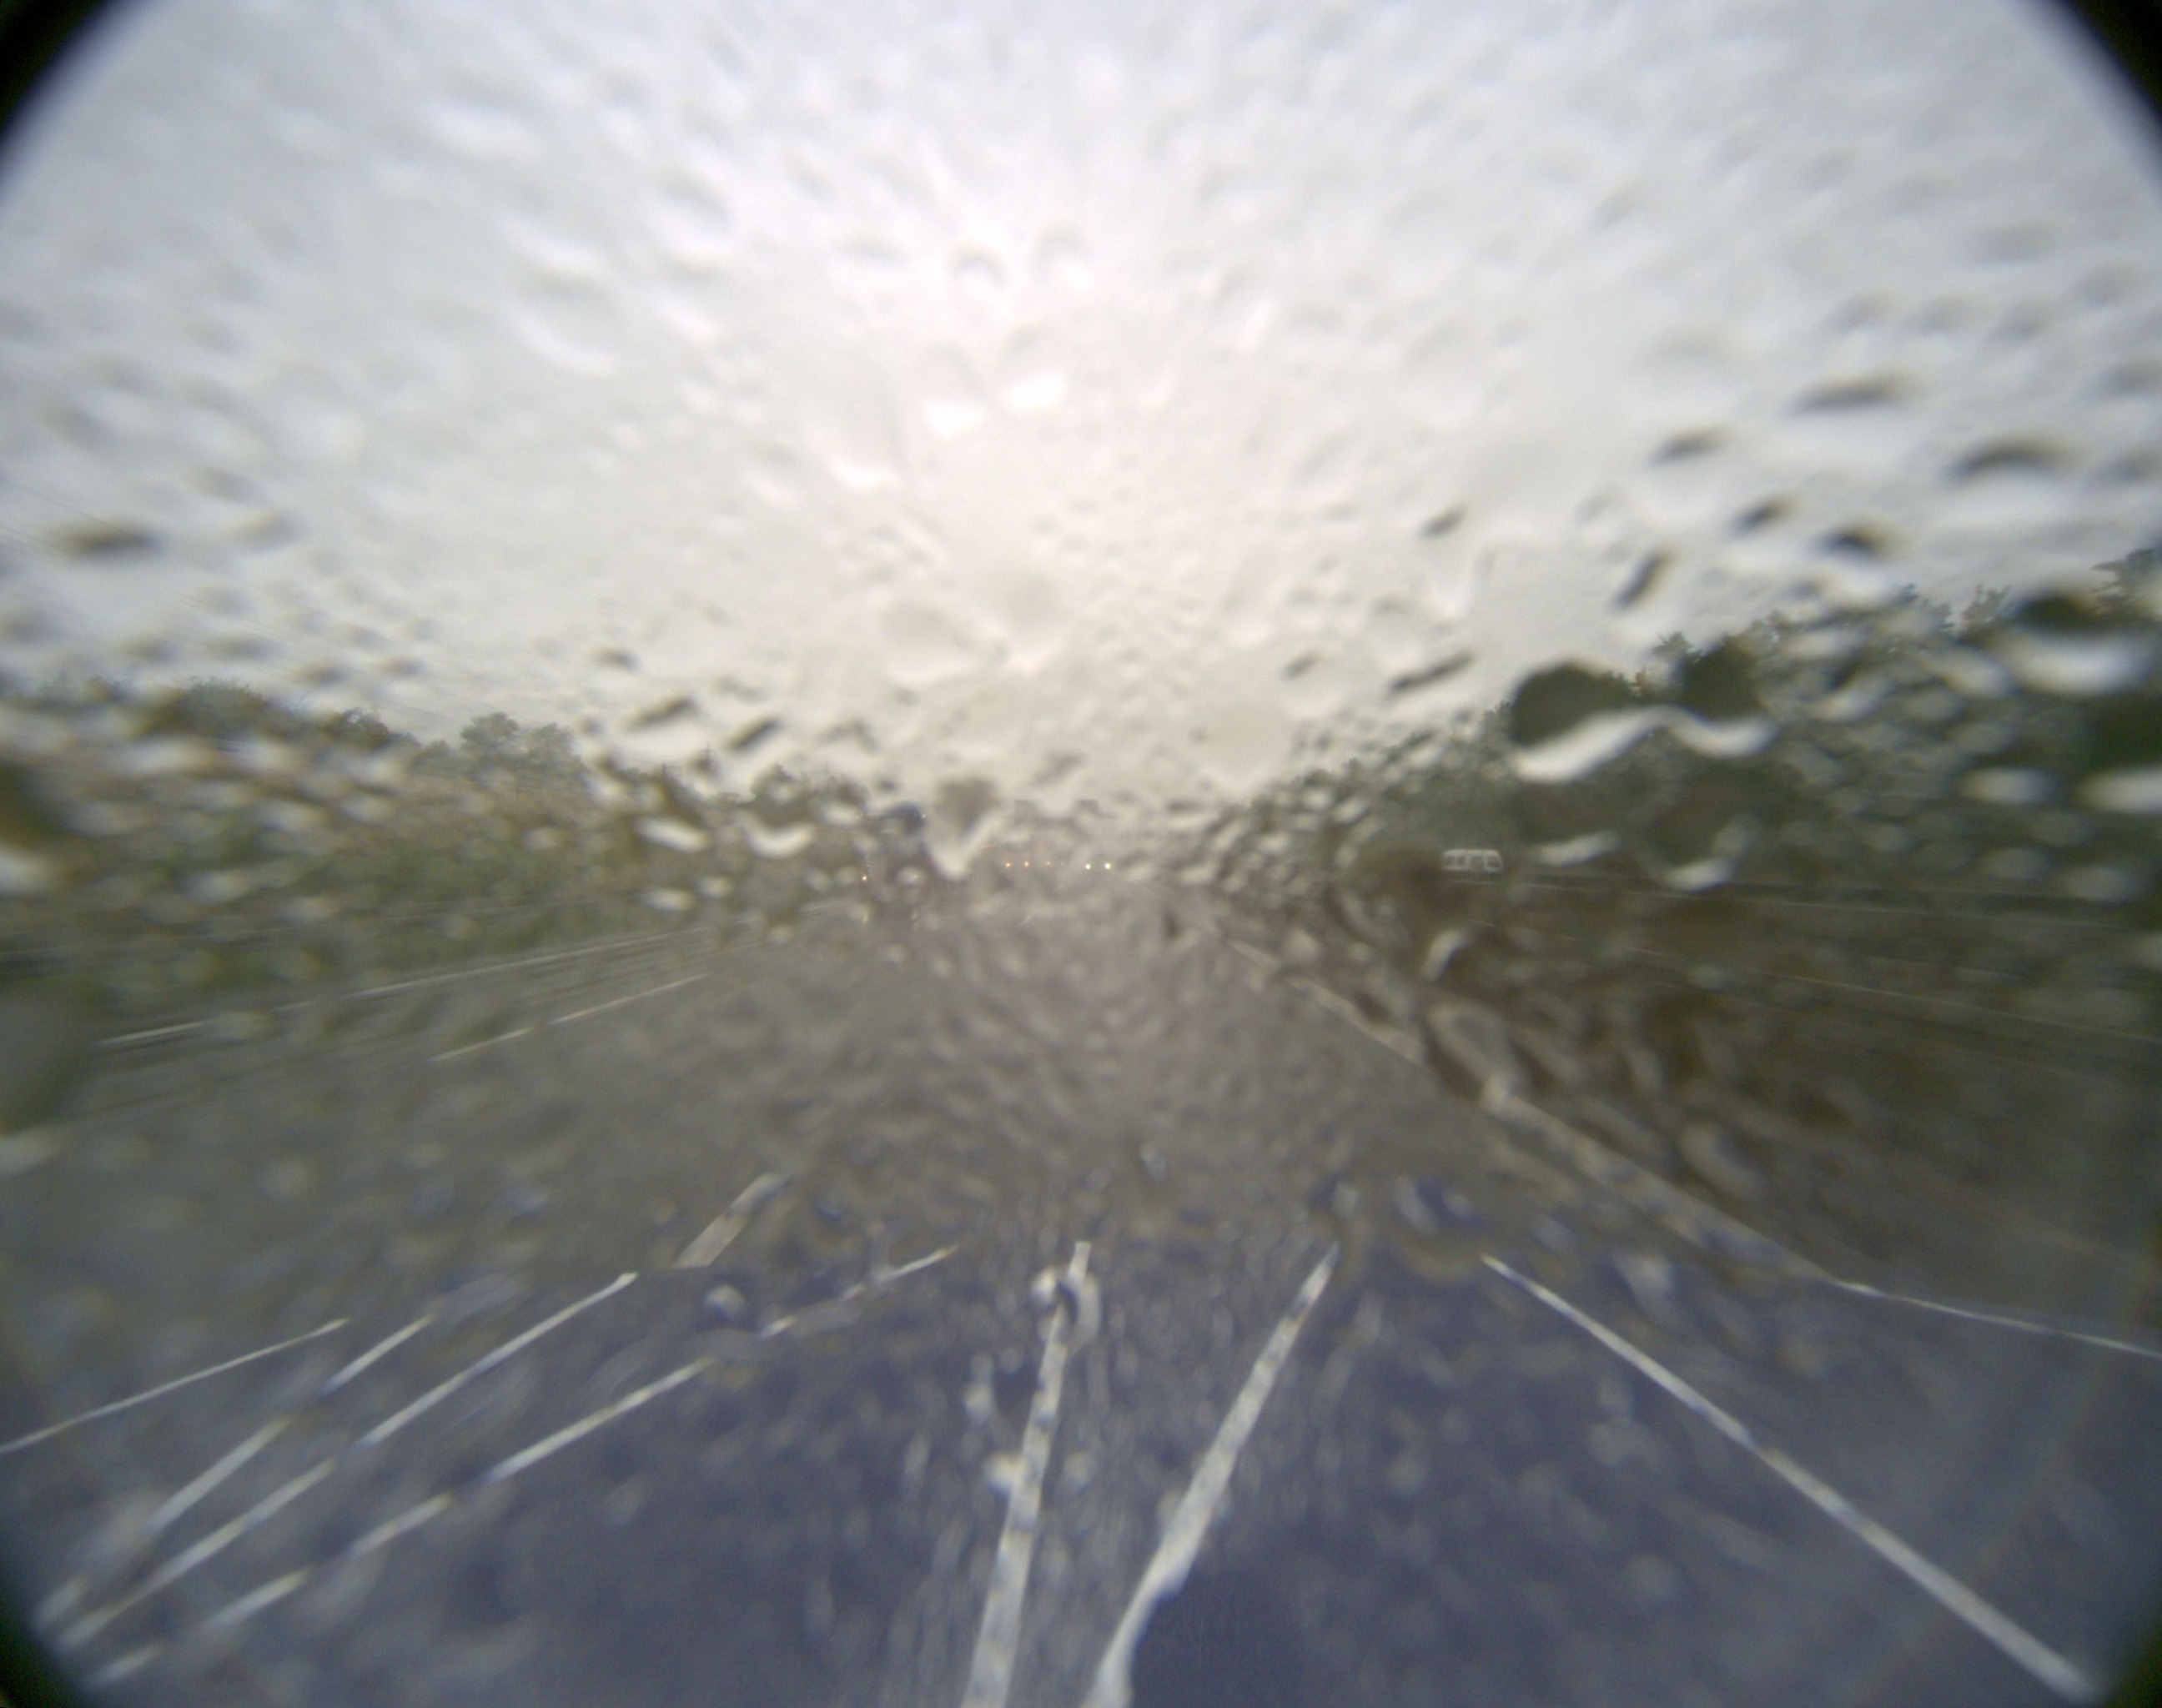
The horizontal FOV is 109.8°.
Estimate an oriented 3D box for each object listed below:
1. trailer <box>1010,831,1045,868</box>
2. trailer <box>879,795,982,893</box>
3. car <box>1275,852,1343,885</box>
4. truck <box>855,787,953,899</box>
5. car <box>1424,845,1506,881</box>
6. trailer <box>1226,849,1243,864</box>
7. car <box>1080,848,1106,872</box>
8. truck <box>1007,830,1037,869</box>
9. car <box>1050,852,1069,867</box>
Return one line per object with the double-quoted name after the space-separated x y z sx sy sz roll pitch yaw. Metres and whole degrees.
-6.025 -0.385 87.572 2.486 3.743 16.547 -2 -1 1 "trailer"
-6.761 -0.319 36.050 2.503 3.859 11.067 -2 -1 0 "trailer"
11.648 0.702 39.150 1.999 1.442 4.517 -2 1 -1 "car"
-6.823 -0.357 29.990 2.503 3.960 5.076 -2 0 0 "truck"
19.545 0.415 38.889 1.738 1.653 4.663 -2 1 -1 "car"
21.249 0.335 105.364 1.418 2.001 4.019 -2 -1 0 "trailer"
0.887 0.444 56.925 1.845 1.670 4.000 -2 -1 1 "car"
-6.153 -0.437 79.918 2.457 3.866 6.200 -2 -1 1 "truck"
-2.213 0.591 78.469 1.663 1.491 3.837 -2 -1 1 "car"
